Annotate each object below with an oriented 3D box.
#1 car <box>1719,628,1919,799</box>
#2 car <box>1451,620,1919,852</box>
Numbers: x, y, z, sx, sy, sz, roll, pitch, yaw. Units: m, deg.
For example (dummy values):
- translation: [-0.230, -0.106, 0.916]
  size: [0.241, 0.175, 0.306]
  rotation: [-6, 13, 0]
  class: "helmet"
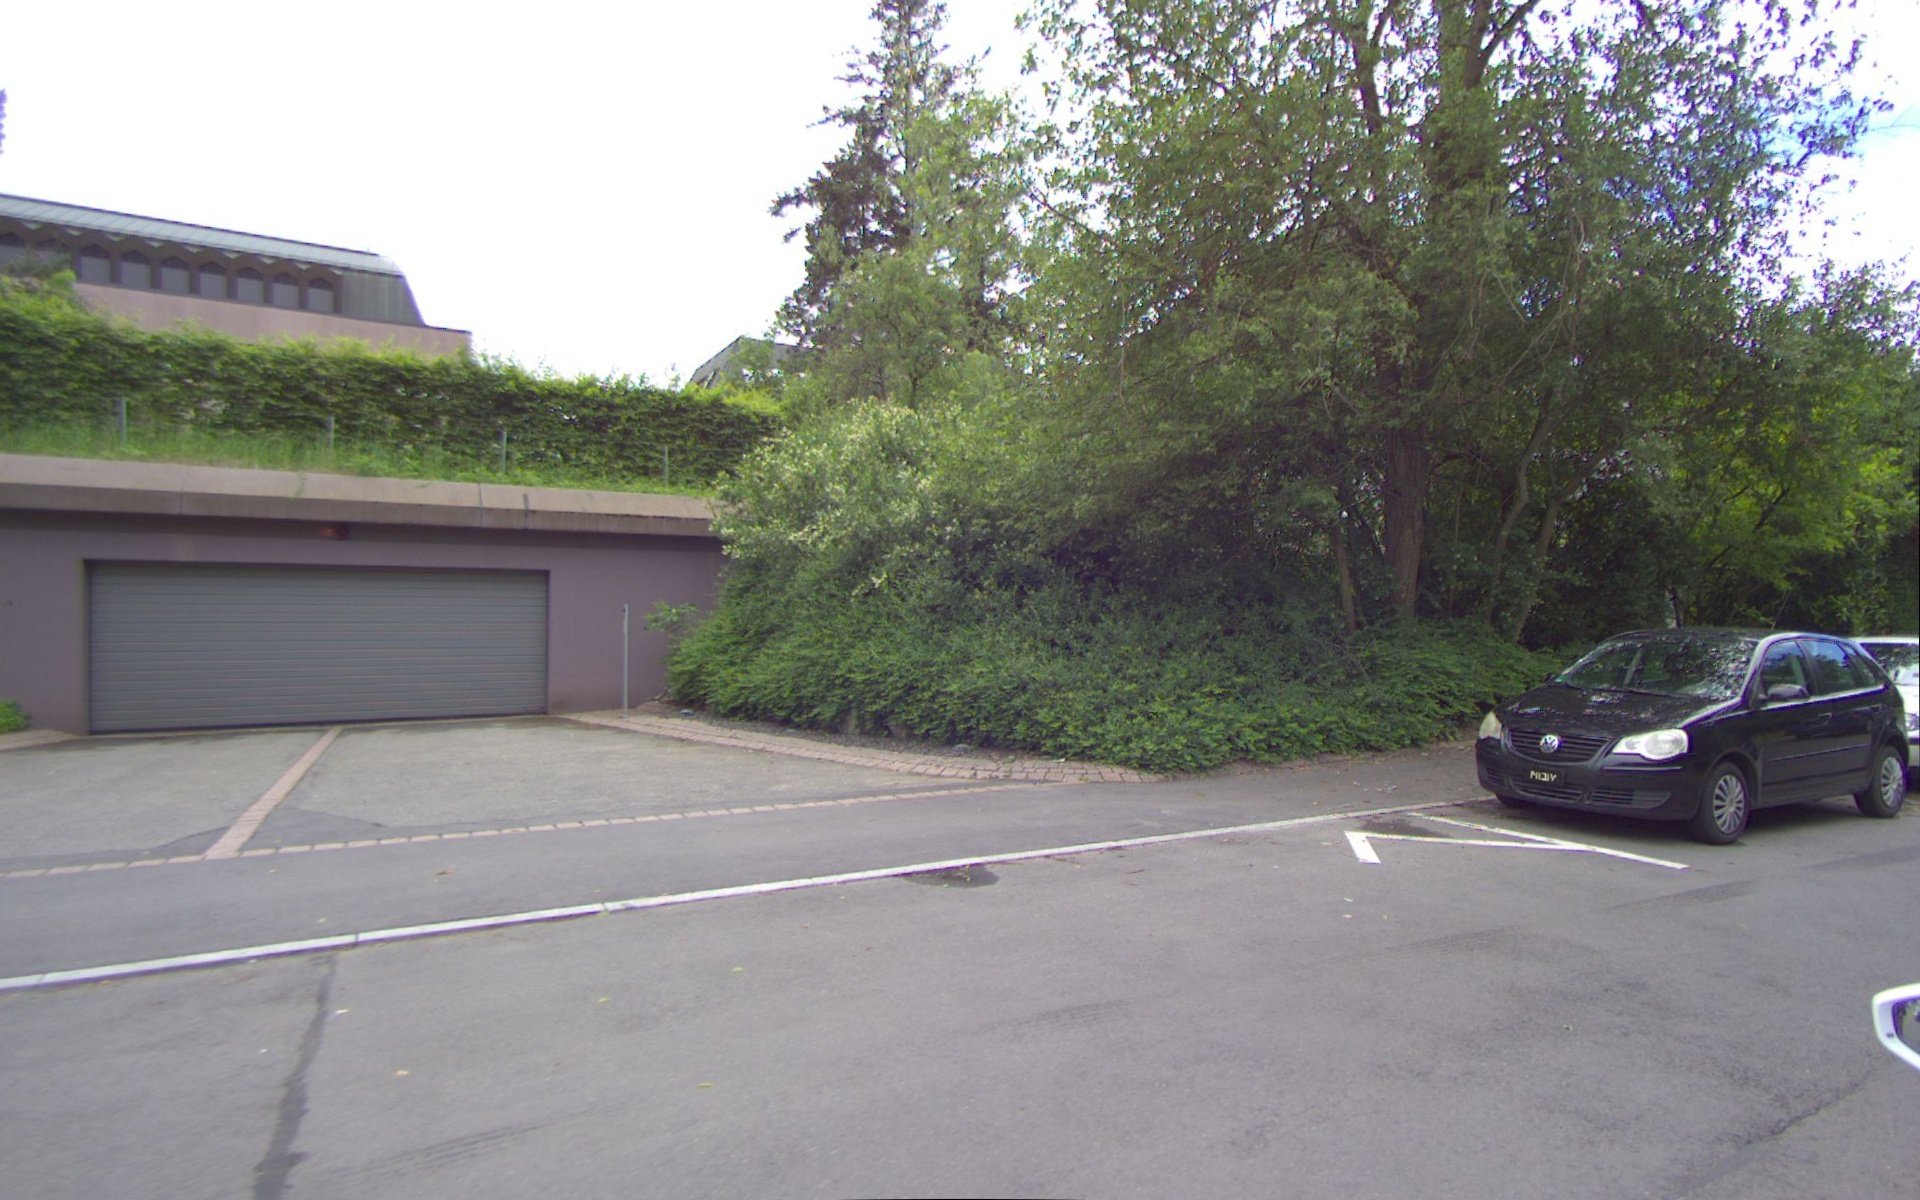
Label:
- translation: [9.945, 1.040, 10.469]
  size: [4.328, 1.472, 1.652]
  rotation: [1, -1, -29]
  class: "car"
- translation: [5.942, 0.925, 8.071]
  size: [3.919, 1.469, 1.616]
  rotation: [1, -1, -28]
  class: "car"
